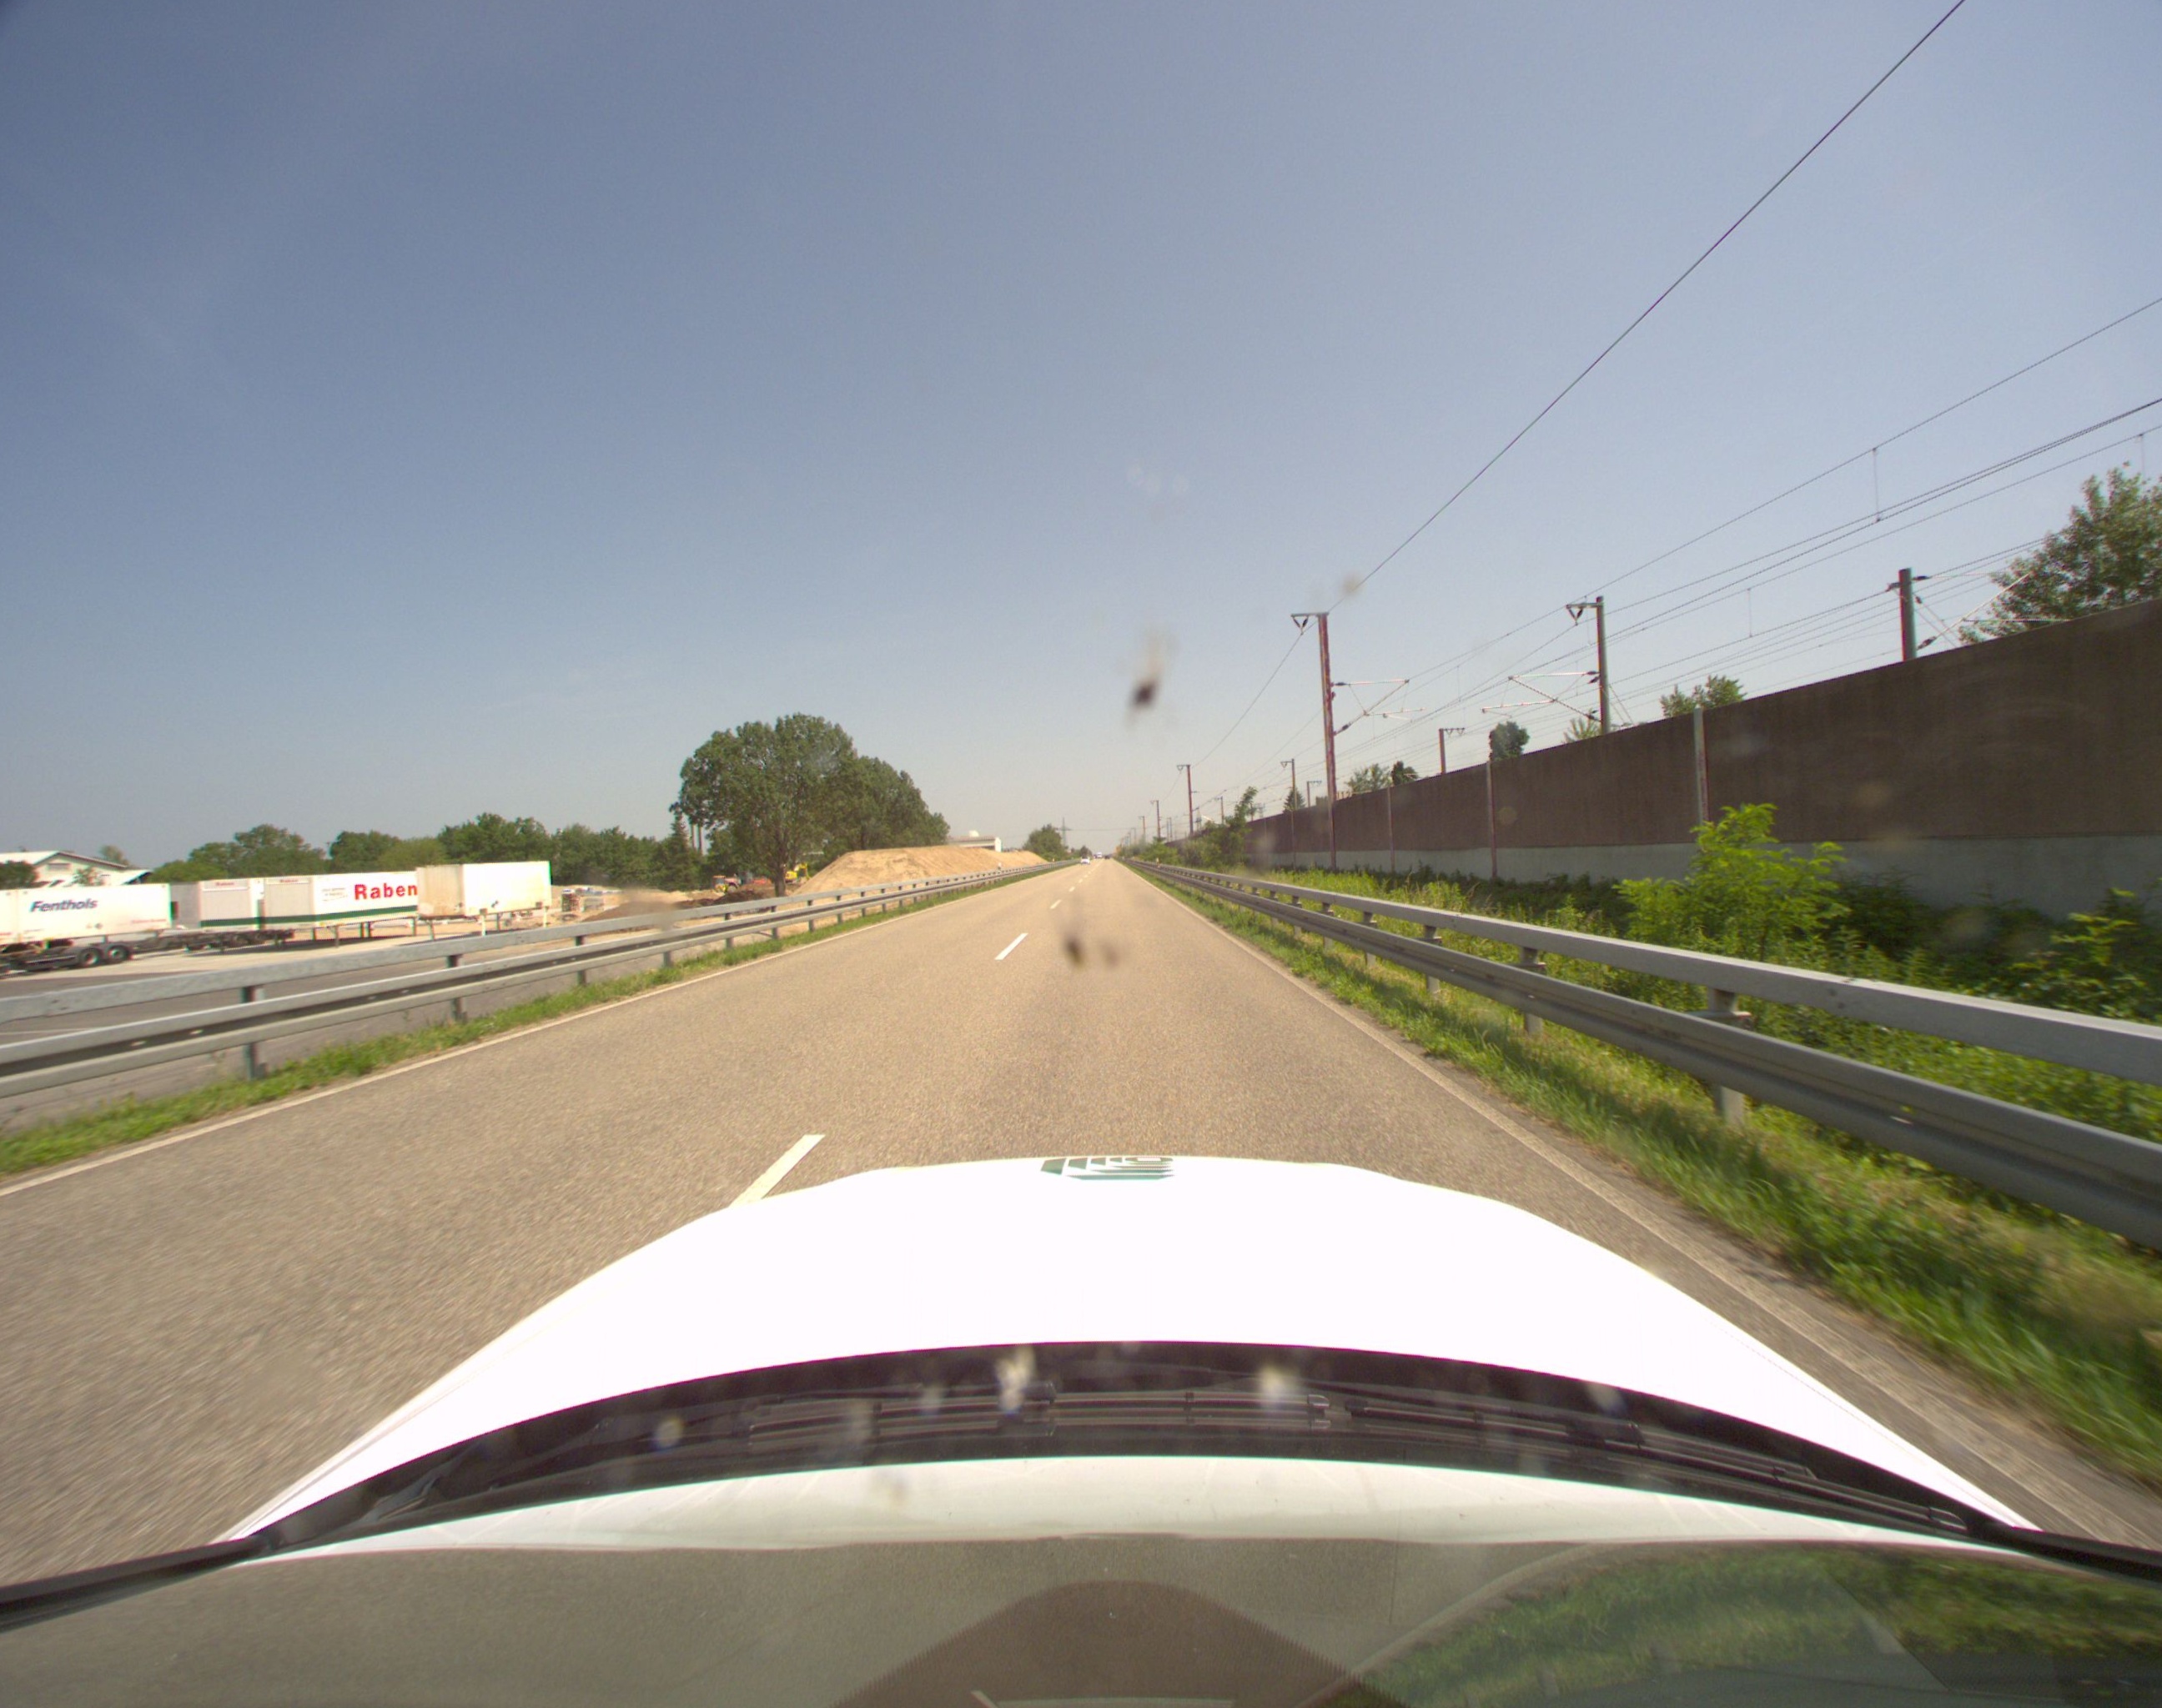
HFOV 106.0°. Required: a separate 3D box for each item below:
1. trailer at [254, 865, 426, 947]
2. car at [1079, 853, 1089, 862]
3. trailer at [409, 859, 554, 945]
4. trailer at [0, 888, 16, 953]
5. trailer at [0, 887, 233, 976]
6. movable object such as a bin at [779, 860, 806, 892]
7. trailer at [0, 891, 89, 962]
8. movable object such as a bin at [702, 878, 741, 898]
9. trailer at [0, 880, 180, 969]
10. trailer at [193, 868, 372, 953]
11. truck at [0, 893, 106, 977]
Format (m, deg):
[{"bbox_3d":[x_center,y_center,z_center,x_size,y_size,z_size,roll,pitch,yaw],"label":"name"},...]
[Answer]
[{"bbox_3d":[-42.706,2.824,47.411,2.736,4.147,7.895,-2,1,-1],"label":"trailer"},{"bbox_3d":[0.514,0.619,144.655,1.590,1.576,3.829,-2,0,1],"label":"car"},{"bbox_3d":[-34.541,2.577,47.407,2.672,4.332,7.946,-2,1,-2],"label":"trailer"},{"bbox_3d":[-66.603,4.148,42.288,2.649,3.921,15.448,-2,1,-2],"label":"trailer"},{"bbox_3d":[-50.291,3.743,42.102,2.367,3.509,11.139,-2,1,-8],"label":"trailer"},{"bbox_3d":[-35.714,2.747,101.093,2.627,3.652,5.429,-5,0,-17],"label":"movable object such as a bin"},{"bbox_3d":[-60.465,4.146,41.616,2.649,3.690,14.065,-2,1,-2],"label":"trailer"},{"bbox_3d":[-44.195,4.163,100.229,3.991,2.013,1.991,-5,0,-13],"label":"movable object such as a bin"},{"bbox_3d":[-57.386,3.892,43.013,2.690,4.260,15.570,-2,1,-2],"label":"trailer"},{"bbox_3d":[-45.728,3.088,47.060,2.846,4.219,7.535,-2,0,-1],"label":"trailer"},{"bbox_3d":[-49.635,3.771,37.261,2.367,3.509,6.836,-2,1,-8],"label":"truck"}]
